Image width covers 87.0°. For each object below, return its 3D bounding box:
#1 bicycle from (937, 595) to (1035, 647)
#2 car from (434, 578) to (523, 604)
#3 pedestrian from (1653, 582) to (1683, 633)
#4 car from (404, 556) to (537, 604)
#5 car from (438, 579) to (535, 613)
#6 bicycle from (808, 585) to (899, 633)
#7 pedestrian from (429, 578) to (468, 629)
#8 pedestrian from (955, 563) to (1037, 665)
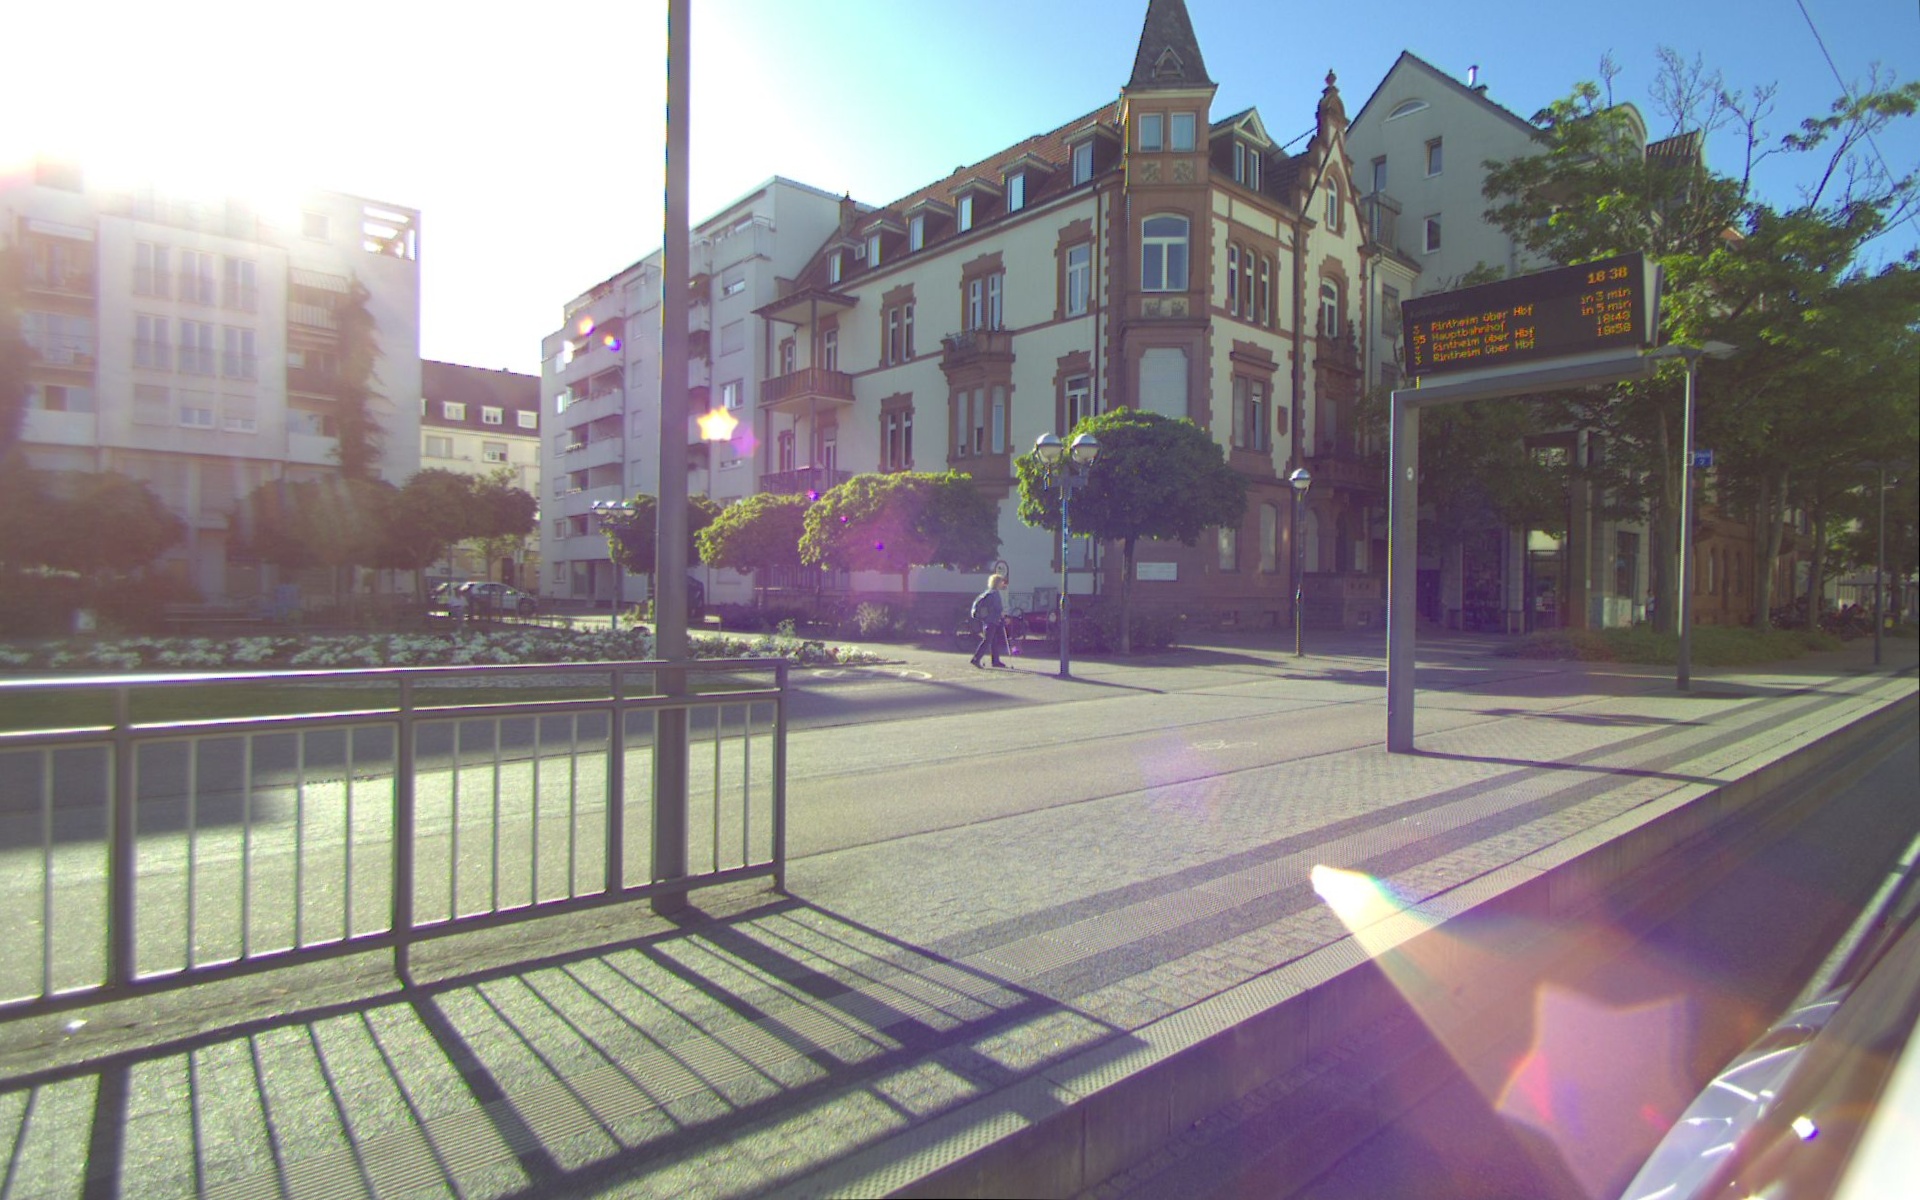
[{"bbox_3d":[0.667,0.462,24.133,0.786,1.081,2.767,1,2,40],"label":"bicycle"},{"bbox_3d":[-24.991,-0.467,52.545,3.923,1.304,2.001,0,1,-34],"label":"car"},{"bbox_3d":[24.909,0.241,35.609,0.740,1.757,0.864,1,0,43],"label":"pedestrian"},{"bbox_3d":[-27.817,-1.106,57.673,6.293,2.587,2.807,0,1,-45],"label":"car"},{"bbox_3d":[-22.445,-0.214,47.999,3.923,1.536,2.001,0,1,-34],"label":"car"},{"bbox_3d":[-3.233,0.260,30.912,2.864,1.389,0.745,0,1,-41],"label":"bicycle"},{"bbox_3d":[-14.824,0.094,29.296,0.917,1.429,1.529,0,1,-30],"label":"pedestrian"},{"bbox_3d":[0.628,0.220,17.587,1.064,1.689,0.944,1,0,37],"label":"pedestrian"}]
